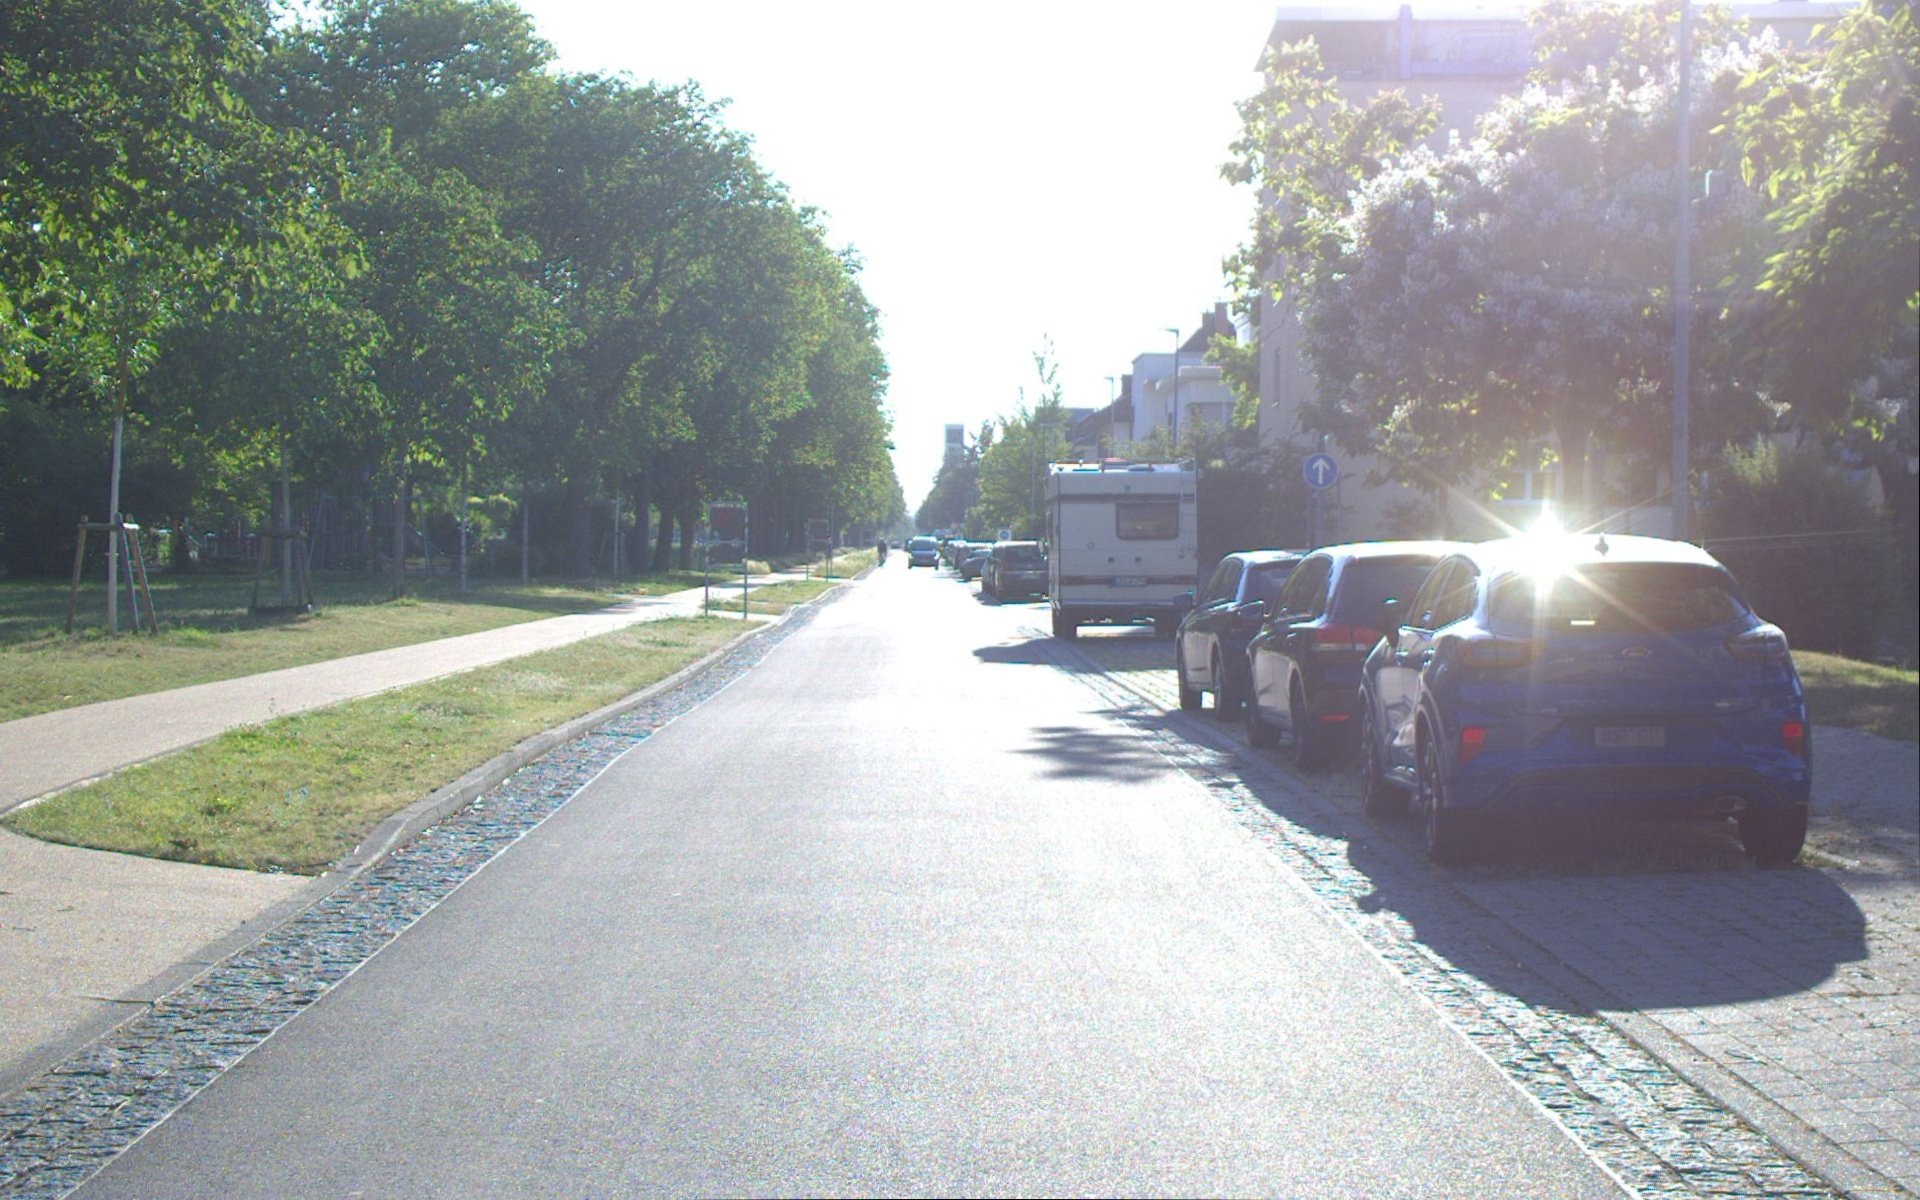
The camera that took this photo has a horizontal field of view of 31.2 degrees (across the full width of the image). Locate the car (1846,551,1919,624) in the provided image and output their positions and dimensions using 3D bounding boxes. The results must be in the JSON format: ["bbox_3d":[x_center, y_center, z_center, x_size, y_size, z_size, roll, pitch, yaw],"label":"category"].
[{"bbox_3d":[20.129,-0.259,69.653,4.198,1.458,1.692,1,1,15],"label":"car"}]

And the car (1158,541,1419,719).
[{"bbox_3d":[2.837,0.220,30.467,1.626,1.459,4.250,0,1,-4],"label":"car"}]

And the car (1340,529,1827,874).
[{"bbox_3d":[3.046,0.432,17.632,1.732,1.545,4.276,0,1,0],"label":"car"}]

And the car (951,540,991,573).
[{"bbox_3d":[0.468,-1.897,150.114,1.626,1.405,4.249,0,1,-1],"label":"car"}]

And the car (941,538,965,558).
[{"bbox_3d":[-0.513,-3.765,249.231,1.626,1.405,4.249,0,1,-1],"label":"car"}]

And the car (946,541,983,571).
[{"bbox_3d":[0.199,-2.062,161.663,1.626,1.405,4.249,0,1,-1],"label":"car"}]

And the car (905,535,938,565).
[{"bbox_3d":[-2.183,-2.838,195.334,1.825,1.663,4.249,0,1,-1],"label":"car"}]

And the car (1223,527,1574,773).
[{"bbox_3d":[2.936,0.289,23.884,1.731,1.545,4.423,0,1,-2],"label":"car"}]

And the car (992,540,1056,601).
[{"bbox_3d":[1.773,-0.828,96.471,1.626,1.663,4.249,0,1,-1],"label":"car"}]

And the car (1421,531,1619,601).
[{"bbox_3d":[12.534,-0.774,77.080,4.195,1.525,2.000,0,1,4],"label":"car"}]

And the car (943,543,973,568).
[{"bbox_3d":[-0.130,-2.544,197.726,1.626,1.405,4.249,0,1,-1],"label":"car"}]

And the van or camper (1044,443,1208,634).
[{"bbox_3d":[2.589,-0.927,55.069,2.234,2.894,5.673,0,0,-1],"label":"van or camper"}]
